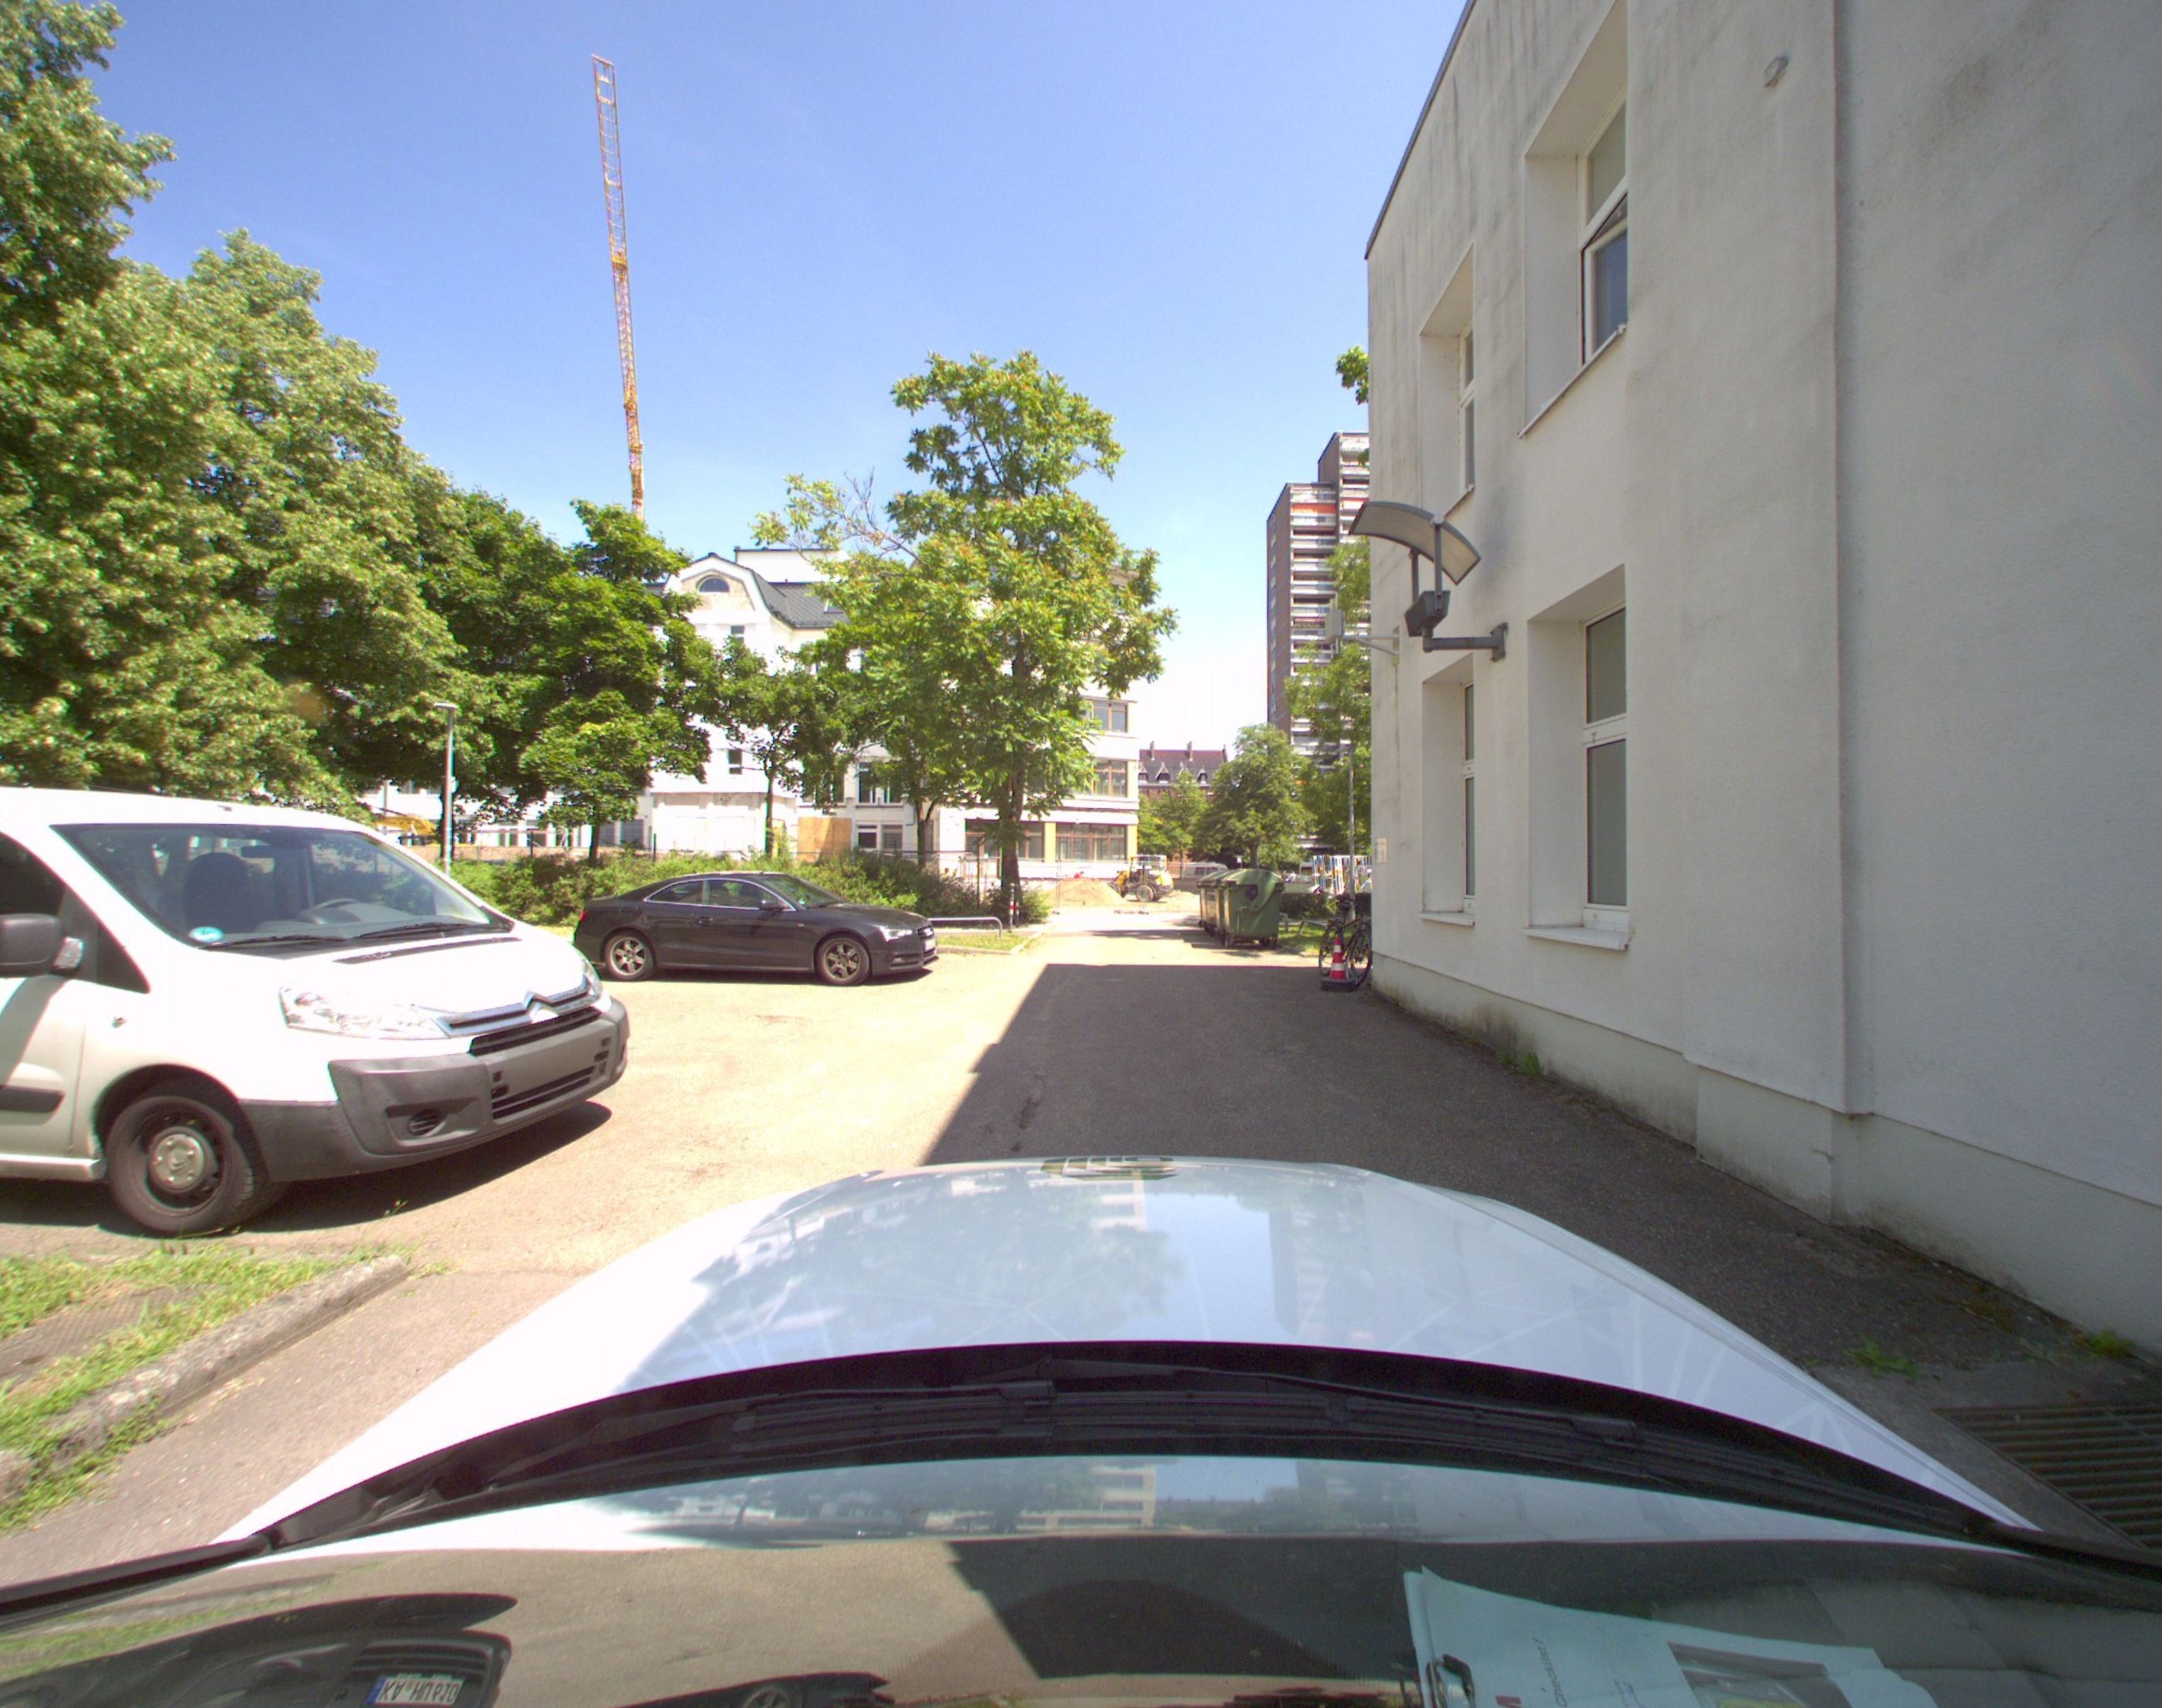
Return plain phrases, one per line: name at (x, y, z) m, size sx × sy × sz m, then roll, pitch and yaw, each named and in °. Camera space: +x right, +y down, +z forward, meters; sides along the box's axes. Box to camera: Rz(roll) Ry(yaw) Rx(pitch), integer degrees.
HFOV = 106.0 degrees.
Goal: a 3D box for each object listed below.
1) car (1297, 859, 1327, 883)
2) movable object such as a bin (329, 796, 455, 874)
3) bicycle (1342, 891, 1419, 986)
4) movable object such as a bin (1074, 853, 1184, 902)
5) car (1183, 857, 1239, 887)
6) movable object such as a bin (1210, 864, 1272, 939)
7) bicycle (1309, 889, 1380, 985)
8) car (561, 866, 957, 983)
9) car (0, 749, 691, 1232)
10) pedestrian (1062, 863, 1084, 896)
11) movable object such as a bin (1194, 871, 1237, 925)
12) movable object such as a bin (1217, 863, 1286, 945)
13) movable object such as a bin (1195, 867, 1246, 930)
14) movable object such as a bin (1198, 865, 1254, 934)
car at (22.659, 1.644, 79.675) m, size 2.165 × 2.258 × 4.895 m, roll -1°, pitch -2°, yaw 24°
movable object such as a bin at (-39.549, -1.056, 46.828) m, size 5.676 × 4.373 × 2.003 m, roll 0°, pitch -2°, yaw 6°
bicycle at (3.845, 1.045, 10.589) m, size 0.403 × 1.102 × 1.827 m, roll 0°, pitch -2°, yaw 3°
movable object such as a bin at (2.568, 1.236, 44.134) m, size 5.351 × 2.464 × 2.382 m, roll 1°, pitch -1°, yaw 31°
car at (10.788, 1.553, 68.094) m, size 2.004 × 2.417 × 5.197 m, roll 1°, pitch -2°, yaw -26°
movable object such as a bin at (3.238, 0.951, 16.637) m, size 1.071 × 1.458 × 1.378 m, roll 0°, pitch -2°, yaw 3°
bicycle at (3.376, 1.020, 10.552) m, size 0.403 × 1.102 × 1.827 m, roll 0°, pitch -2°, yaw 3°
car at (-4.083, 0.871, 10.864) m, size 4.409 × 1.380 × 2.026 m, roll 0°, pitch -2°, yaw 4°
car at (-5.029, 0.554, 4.391) m, size 4.825 × 1.884 × 2.070 m, roll 0°, pitch -2°, yaw 4°
pedestrian at (-0.446, 1.409, 45.287) m, size 0.917 × 1.847 × 0.980 m, roll 1°, pitch -2°, yaw -19°
movable object such as a bin at (3.774, 1.220, 23.021) m, size 1.071 × 1.458 × 1.378 m, roll 0°, pitch -2°, yaw 3°
movable object such as a bin at (3.150, 0.910, 15.195) m, size 1.071 × 1.458 × 1.378 m, roll 0°, pitch -2°, yaw 3°
movable object such as a bin at (3.322, 1.047, 19.529) m, size 1.071 × 1.458 × 1.378 m, roll 0°, pitch -2°, yaw 3°
movable object such as a bin at (3.198, 0.992, 18.111) m, size 1.071 × 1.458 × 1.378 m, roll 0°, pitch -2°, yaw 3°
